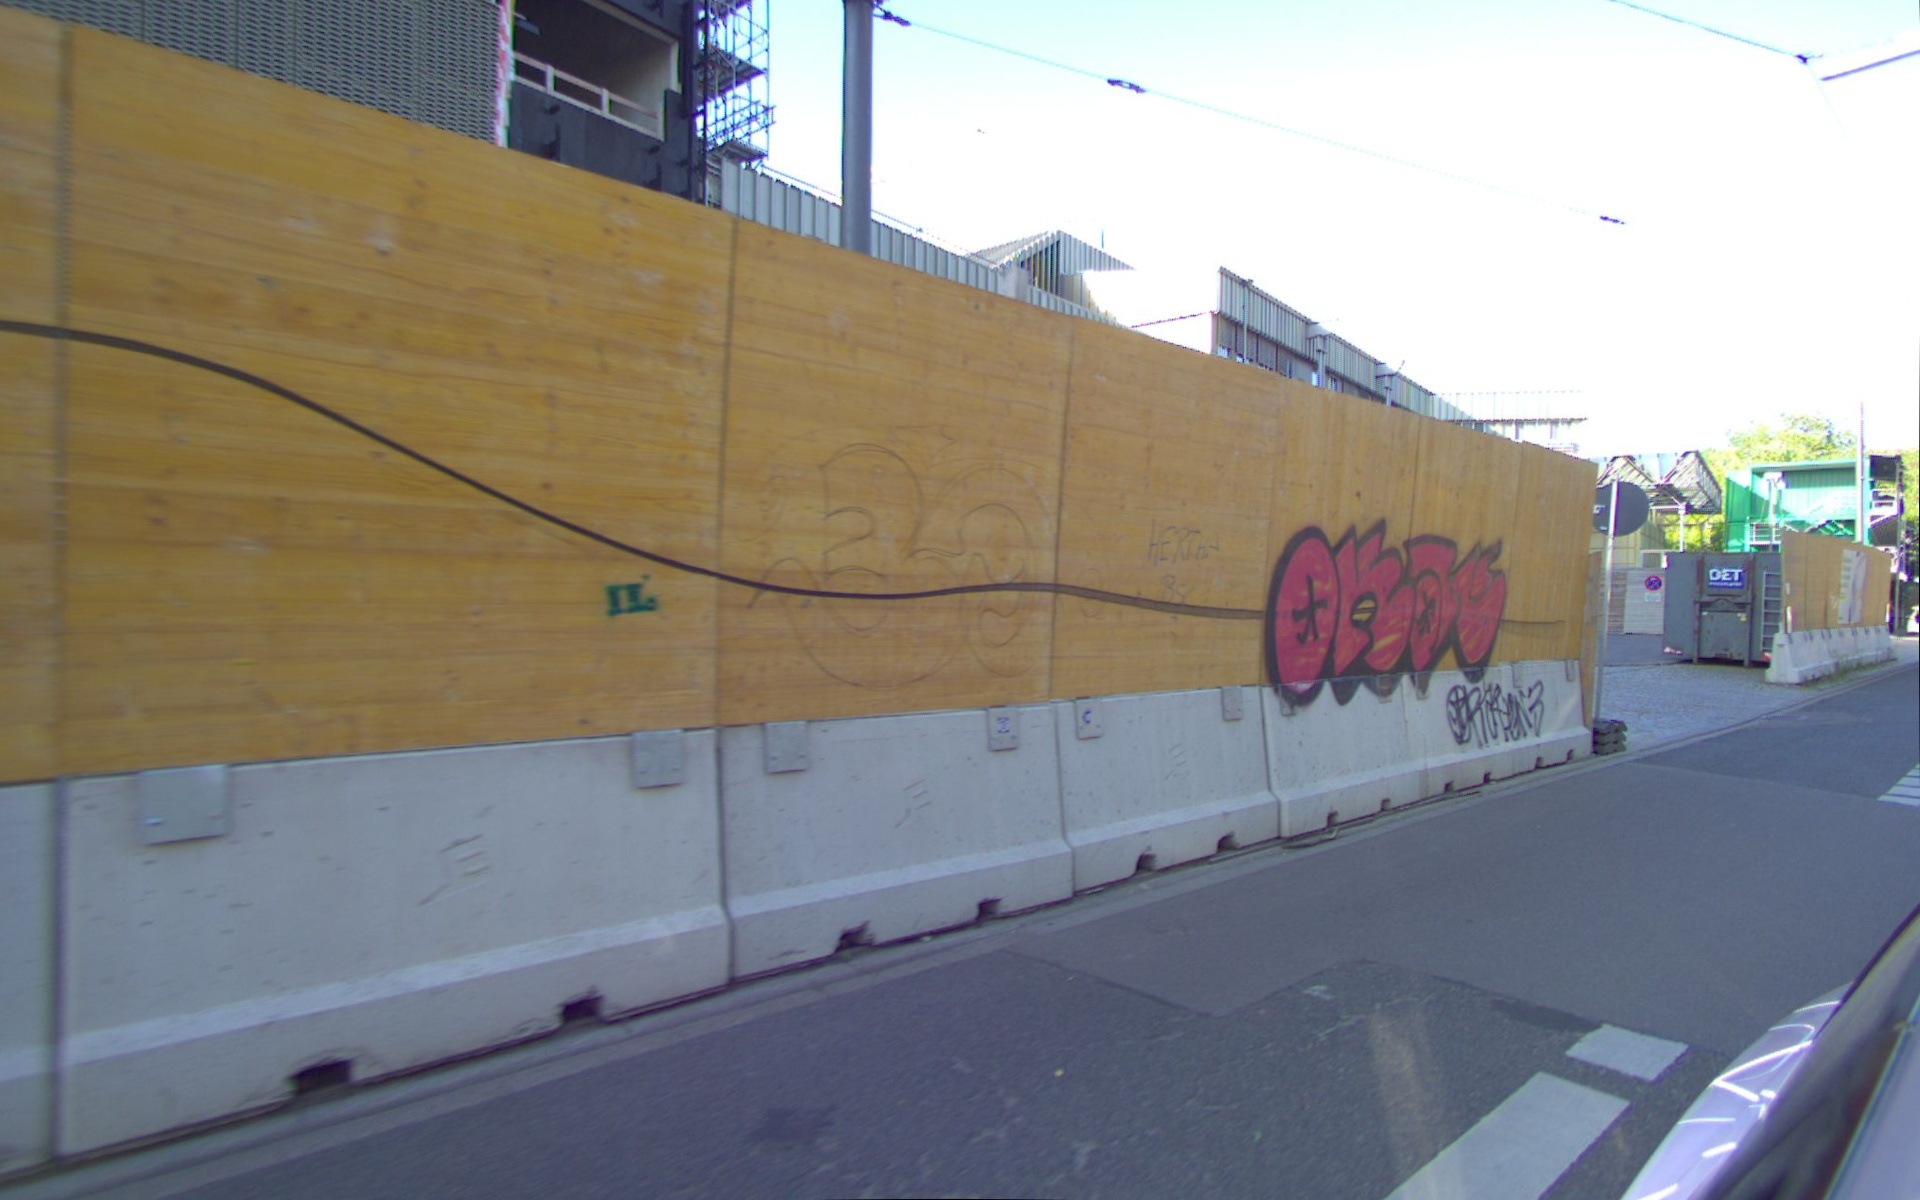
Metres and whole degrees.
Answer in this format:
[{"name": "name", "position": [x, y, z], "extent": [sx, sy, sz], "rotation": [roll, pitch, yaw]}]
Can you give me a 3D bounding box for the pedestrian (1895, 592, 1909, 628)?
[{"name": "pedestrian", "position": [47.487, 0.503, 50.998], "extent": [0.445, 1.780, 0.373], "rotation": [0, 0, 30]}]
